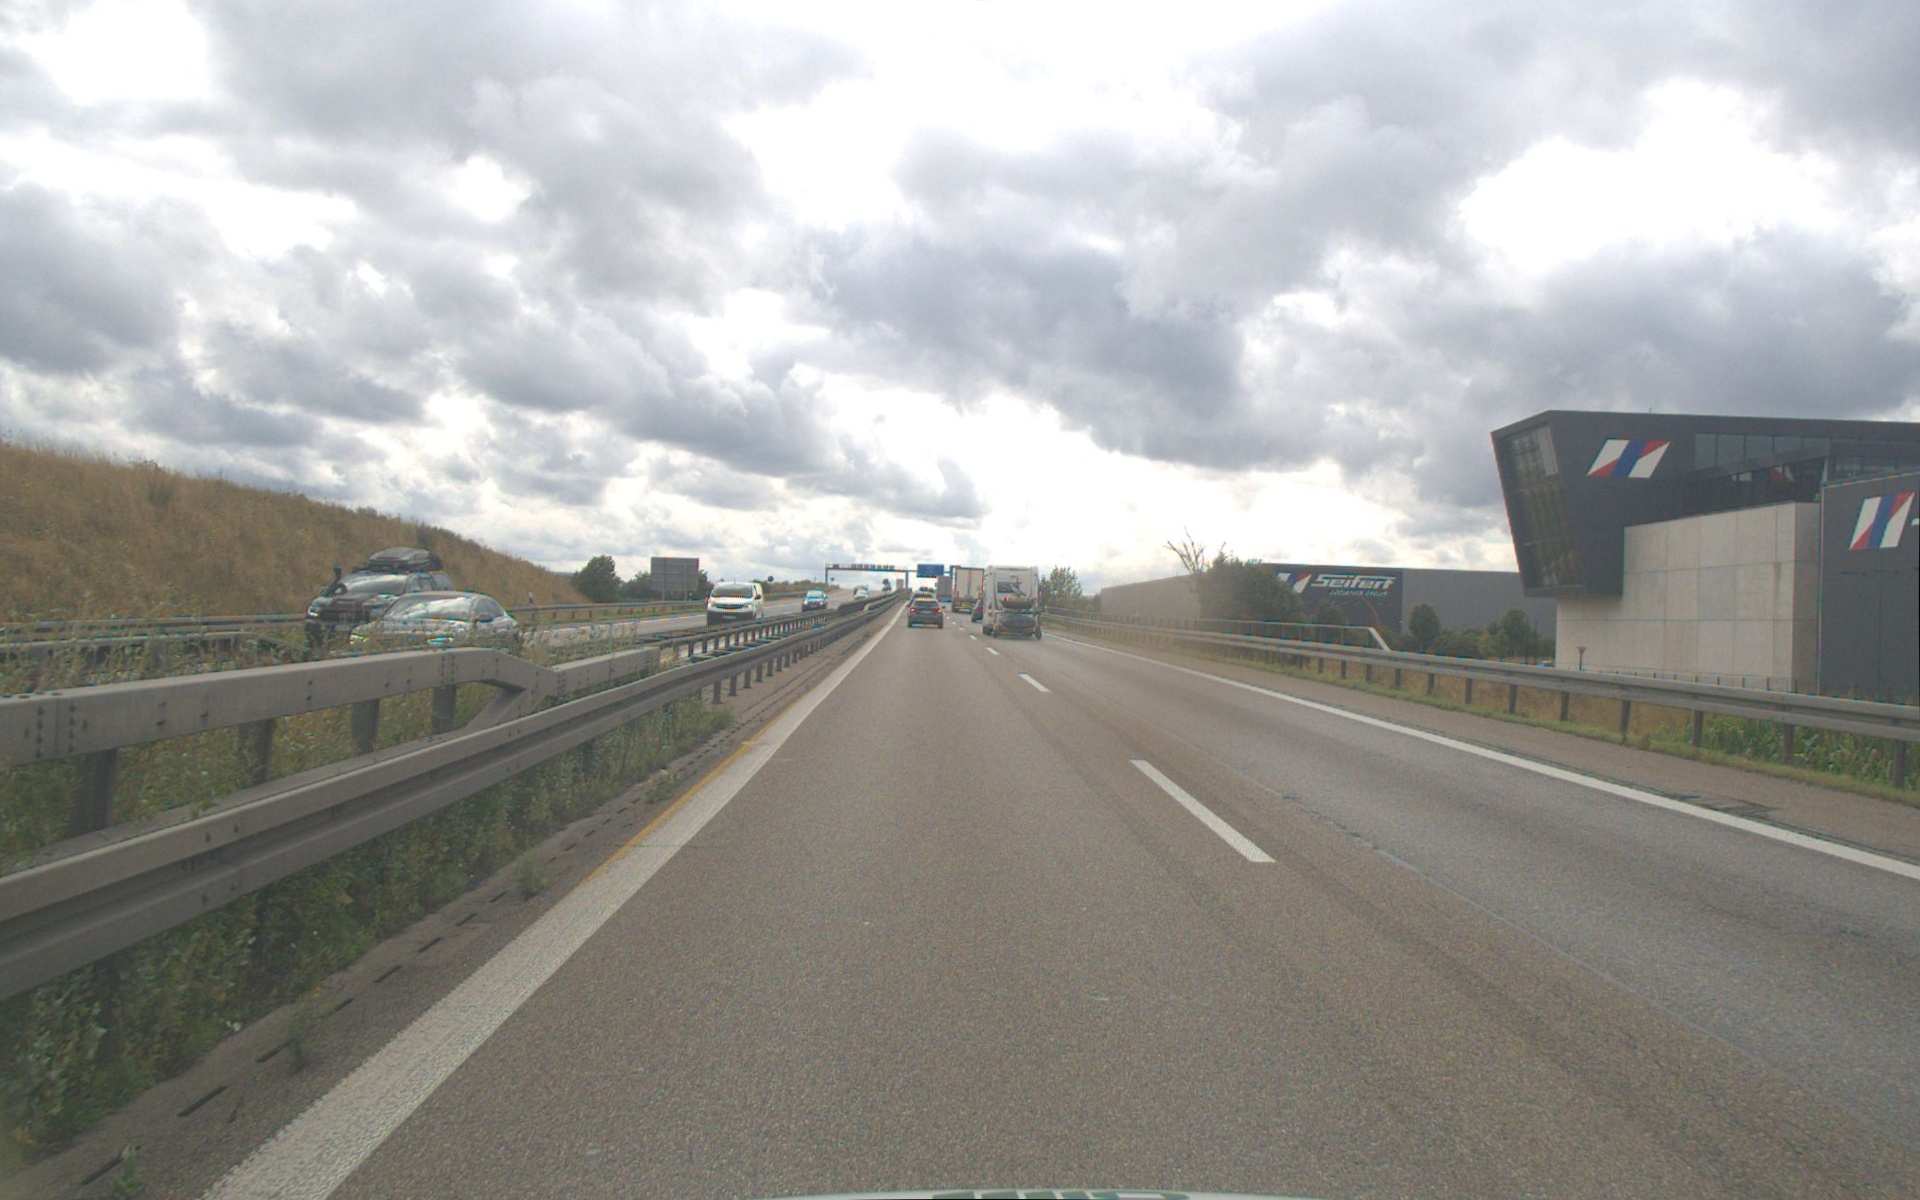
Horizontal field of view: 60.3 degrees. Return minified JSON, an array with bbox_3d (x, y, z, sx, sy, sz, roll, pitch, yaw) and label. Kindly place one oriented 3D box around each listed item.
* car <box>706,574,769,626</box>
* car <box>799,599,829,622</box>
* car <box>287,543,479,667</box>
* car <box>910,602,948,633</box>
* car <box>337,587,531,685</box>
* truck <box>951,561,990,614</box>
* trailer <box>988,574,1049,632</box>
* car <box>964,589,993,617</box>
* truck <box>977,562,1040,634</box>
[{"bbox_3d":[-8.817,0.035,65.965,1.791,1.918,5.417,1,-1,-1],"label":"car"},{"bbox_3d":[-10.642,0.792,120.666,1.804,1.604,3.999,1,-1,-1],"label":"car"},{"bbox_3d":[-11.732,0.126,34.096,1.953,2.281,5.717,1,-1,-1],"label":"car"},{"bbox_3d":[-1.543,0.876,82.900,1.710,1.478,4.000,1,-1,1],"label":"car"},{"bbox_3d":[-8.415,0.562,26.894,1.774,1.427,4.405,1,-1,-1],"label":"car"},{"bbox_3d":[0.907,-1.076,150.604,3.271,4.614,8.015,1,-1,-1],"label":"truck"},{"bbox_3d":[2.277,0.148,65.554,2.290,2.174,4.000,1,-1,1],"label":"trailer"},{"bbox_3d":[1.194,0.215,106.954,1.764,1.714,4.000,1,-1,1],"label":"car"},{"bbox_3d":[2.072,-0.054,72.682,2.431,3.002,5.813,1,-1,-1],"label":"truck"}]
